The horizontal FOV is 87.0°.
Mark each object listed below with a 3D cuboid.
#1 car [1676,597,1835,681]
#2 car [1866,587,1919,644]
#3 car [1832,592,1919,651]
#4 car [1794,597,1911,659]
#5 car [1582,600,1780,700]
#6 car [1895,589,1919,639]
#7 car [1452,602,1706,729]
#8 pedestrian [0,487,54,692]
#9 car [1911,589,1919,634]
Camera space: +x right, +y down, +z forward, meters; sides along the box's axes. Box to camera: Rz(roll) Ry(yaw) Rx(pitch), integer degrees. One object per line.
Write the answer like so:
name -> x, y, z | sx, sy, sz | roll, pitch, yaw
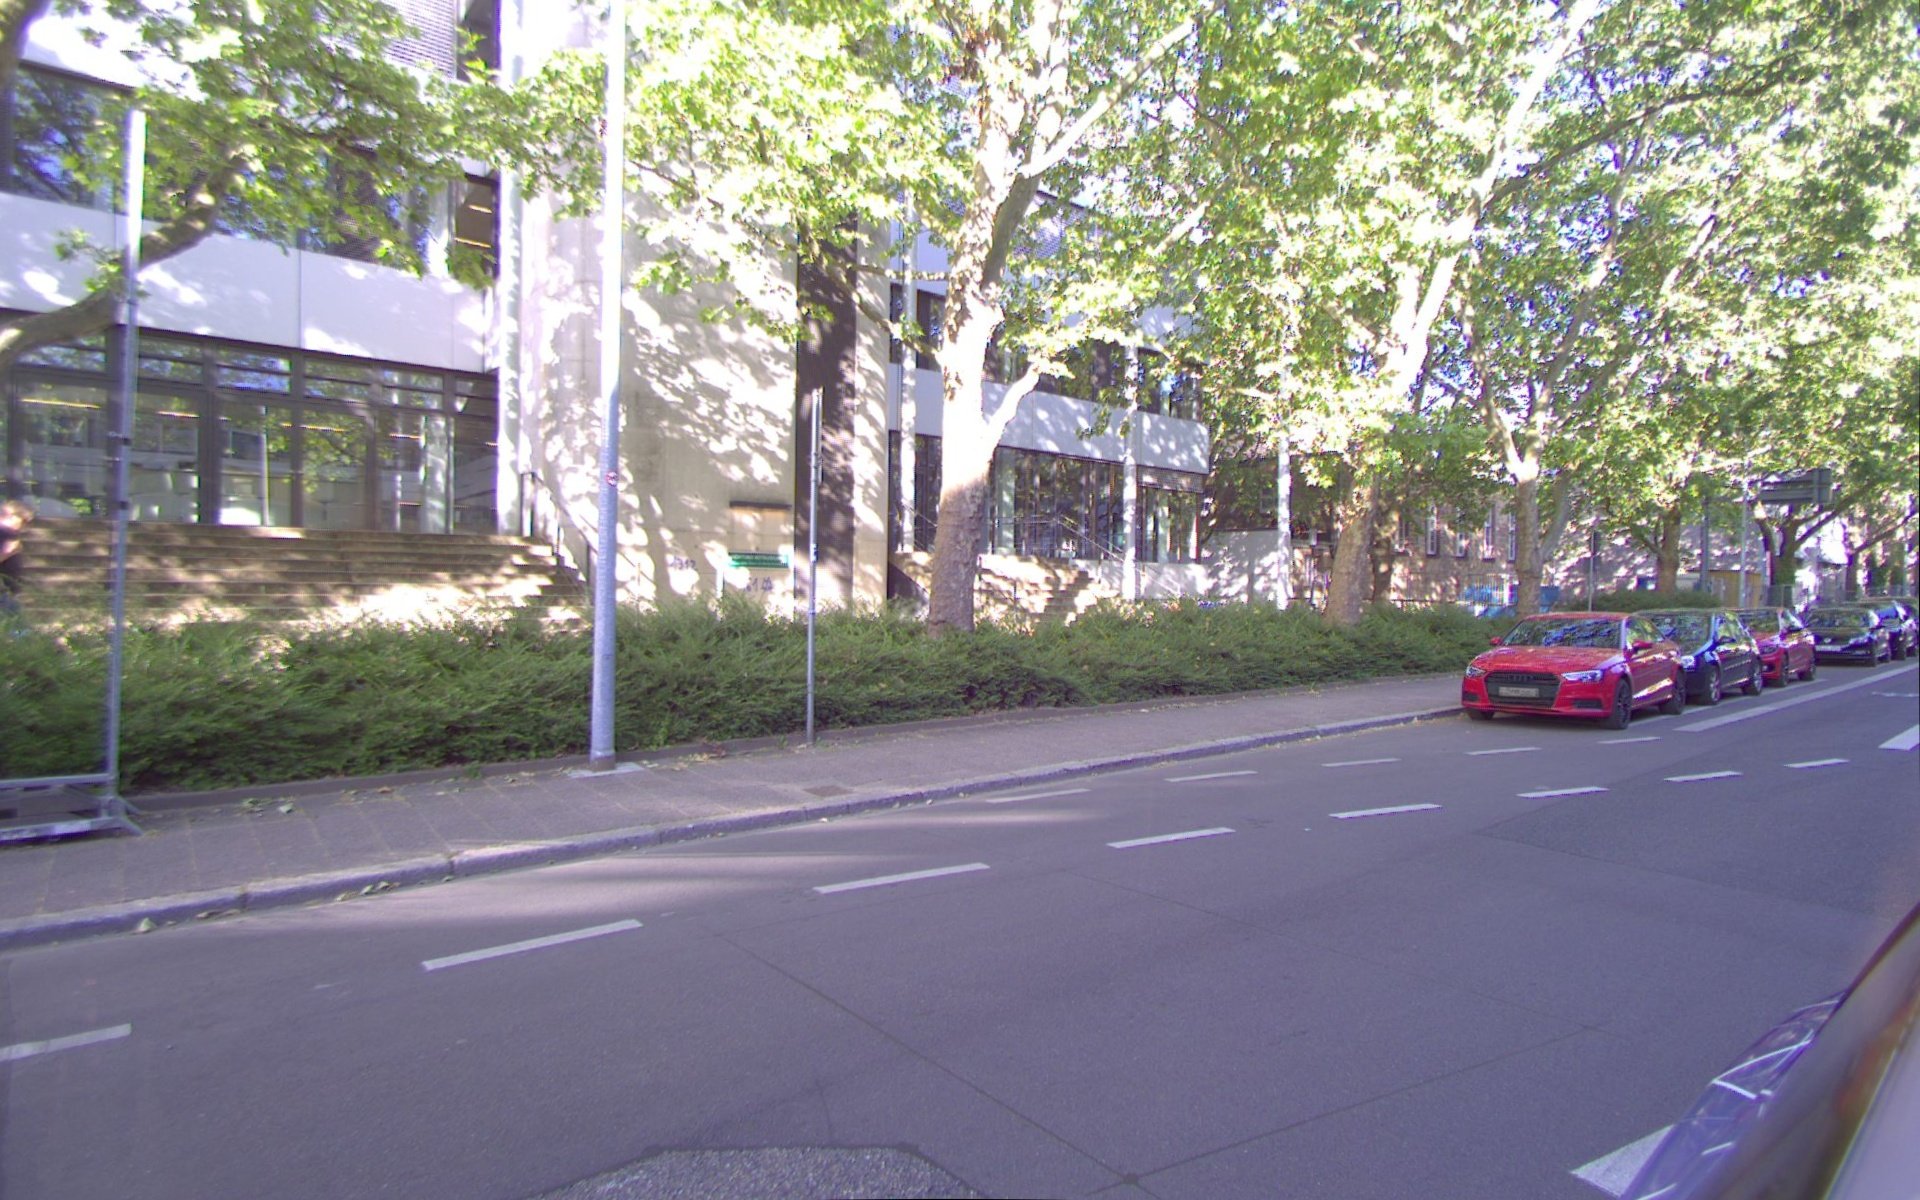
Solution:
car -> 15.867, 0.695, 20.109 | 4.092, 1.502, 1.815 | 0, -1, -42
car -> 31.065, 0.481, 33.015 | 4.271, 1.777, 1.788 | 0, -1, -42
car -> 26.604, 0.581, 29.133 | 4.092, 1.573, 1.788 | 0, -1, -42
car -> 23.059, 0.673, 26.102 | 4.092, 1.478, 1.788 | 0, -1, -42
car -> 11.961, 0.733, 16.688 | 4.092, 1.431, 1.815 | 0, -1, -42
car -> 35.918, 0.475, 37.251 | 4.475, 1.777, 1.788 | 0, -1, -42
car -> 8.368, 0.748, 13.548 | 4.092, 1.431, 1.815 | 0, -1, -42
pedestrian -> -8.763, -0.100, 9.142 | 0.848, 1.803, 0.785 | 0, 0, -42
car -> 39.636, 0.430, 40.401 | 4.475, 1.777, 2.040 | 0, -1, -42
